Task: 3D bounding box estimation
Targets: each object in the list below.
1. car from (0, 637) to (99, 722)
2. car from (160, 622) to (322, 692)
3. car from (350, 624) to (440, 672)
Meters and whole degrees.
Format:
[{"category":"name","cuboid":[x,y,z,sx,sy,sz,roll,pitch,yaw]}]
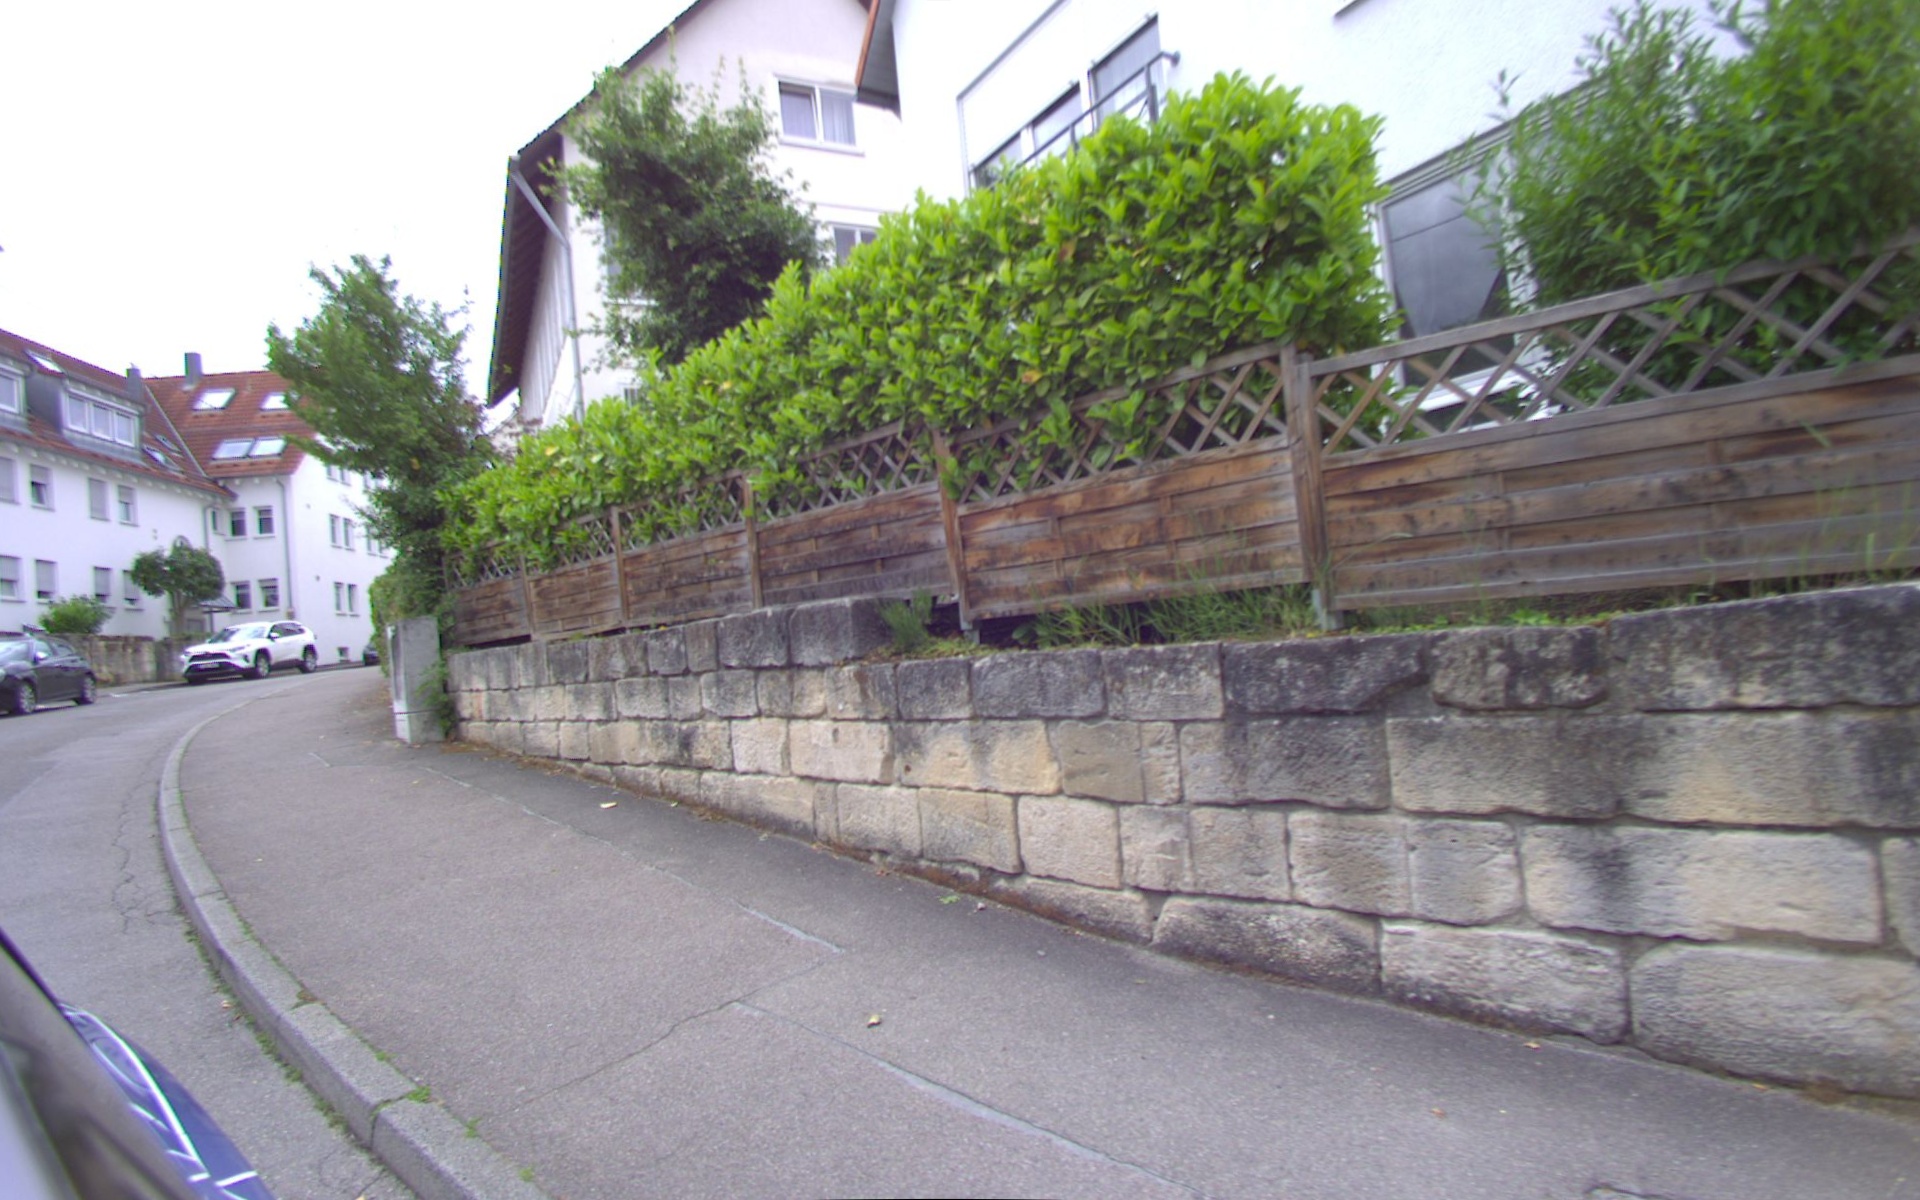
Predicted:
[{"category":"car","cuboid":[-17.757,1.484,18.582,1.694,1.417,4.016,-6,0,-22]},{"category":"car","cuboid":[-20.644,1.595,29.330,1.922,1.651,4.468,-6,-1,-9]},{"category":"car","cuboid":[-21.915,1.817,39.400,1.713,1.575,3.916,-7,0,-9]}]
